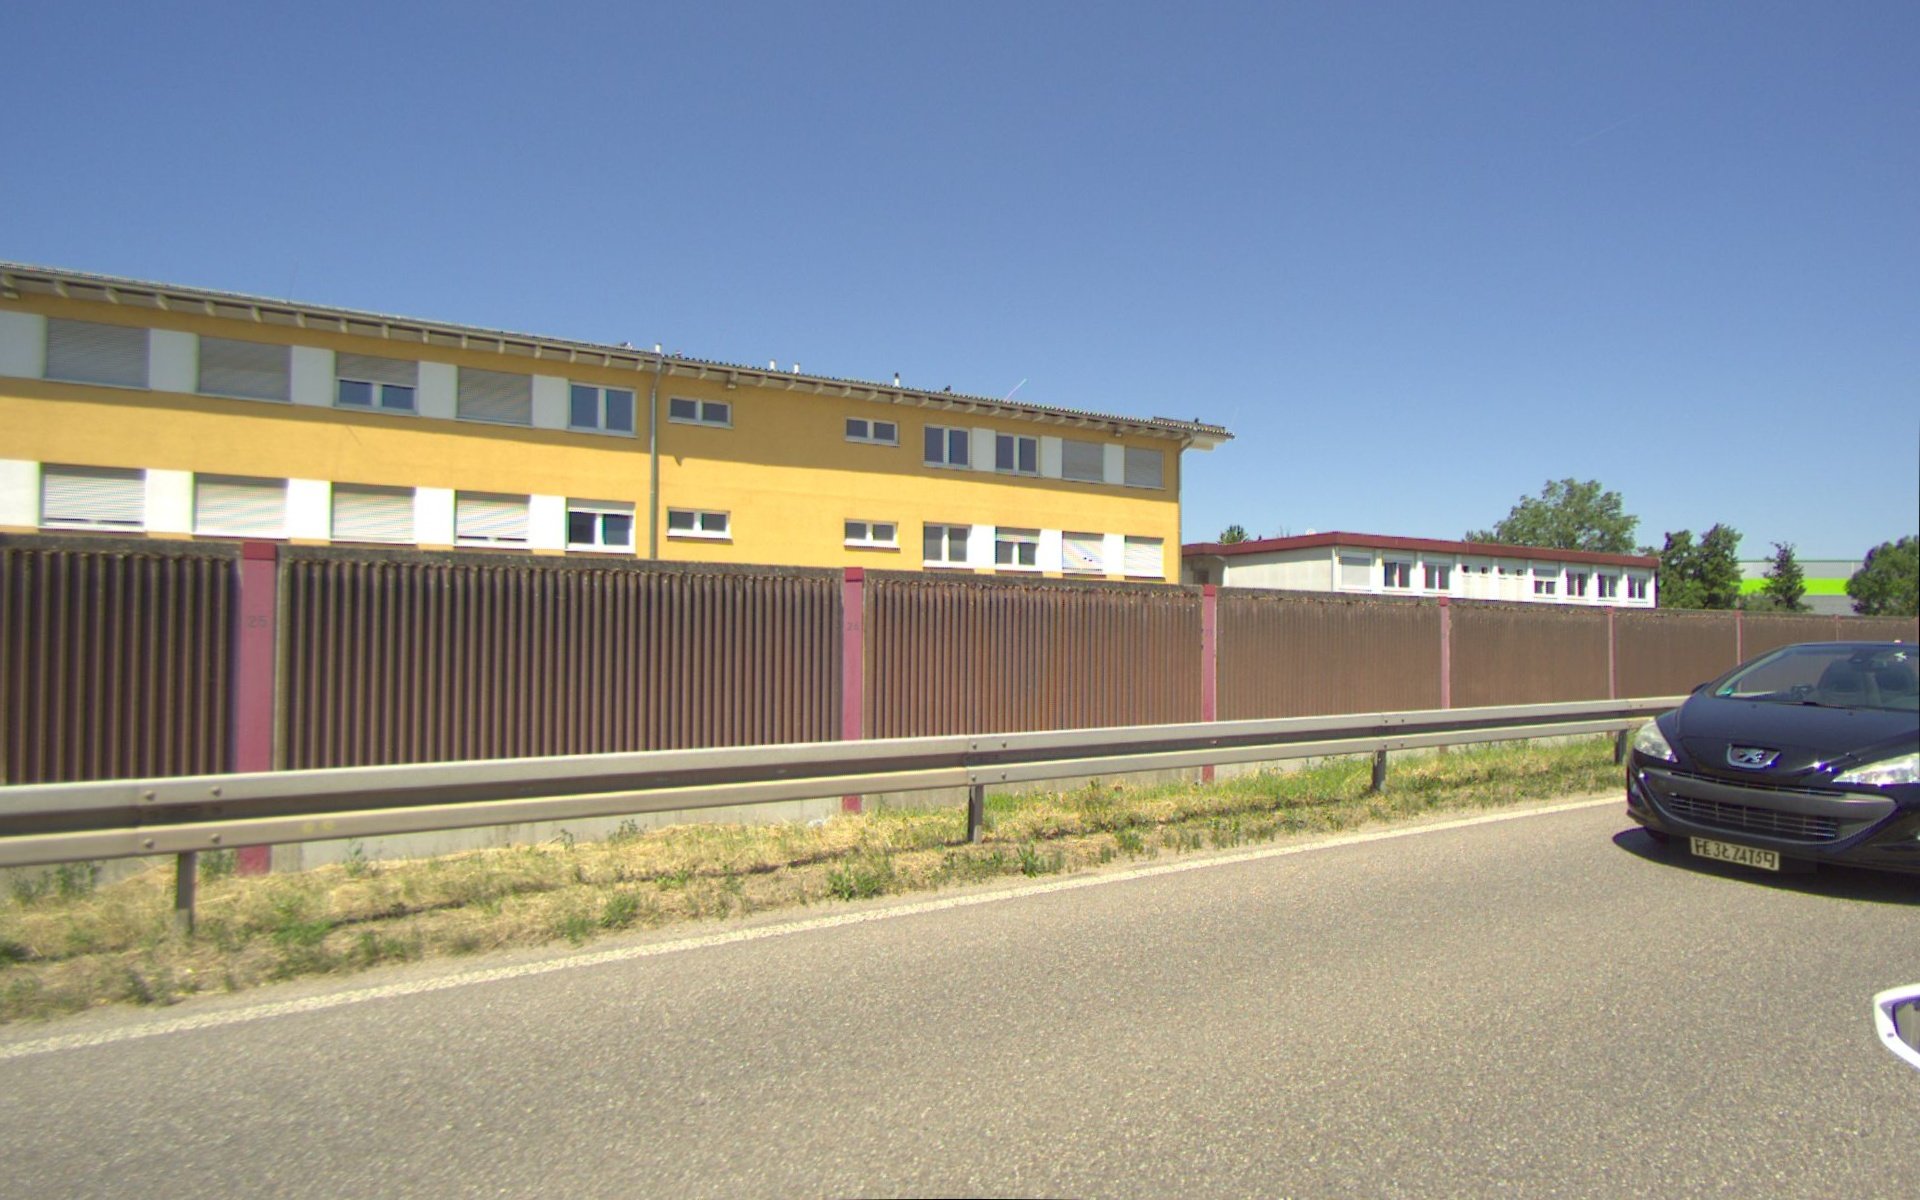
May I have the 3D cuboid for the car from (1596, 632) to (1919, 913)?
[{"bbox_3d":[6.431,0.966,6.908,4.143,1.408,1.835,1,0,-31],"label":"car"}]

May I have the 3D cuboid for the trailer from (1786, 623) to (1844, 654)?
[{"bbox_3d":[79.330,3.572,93.211,3.683,2.801,1.827,1,-1,16],"label":"trailer"}]
